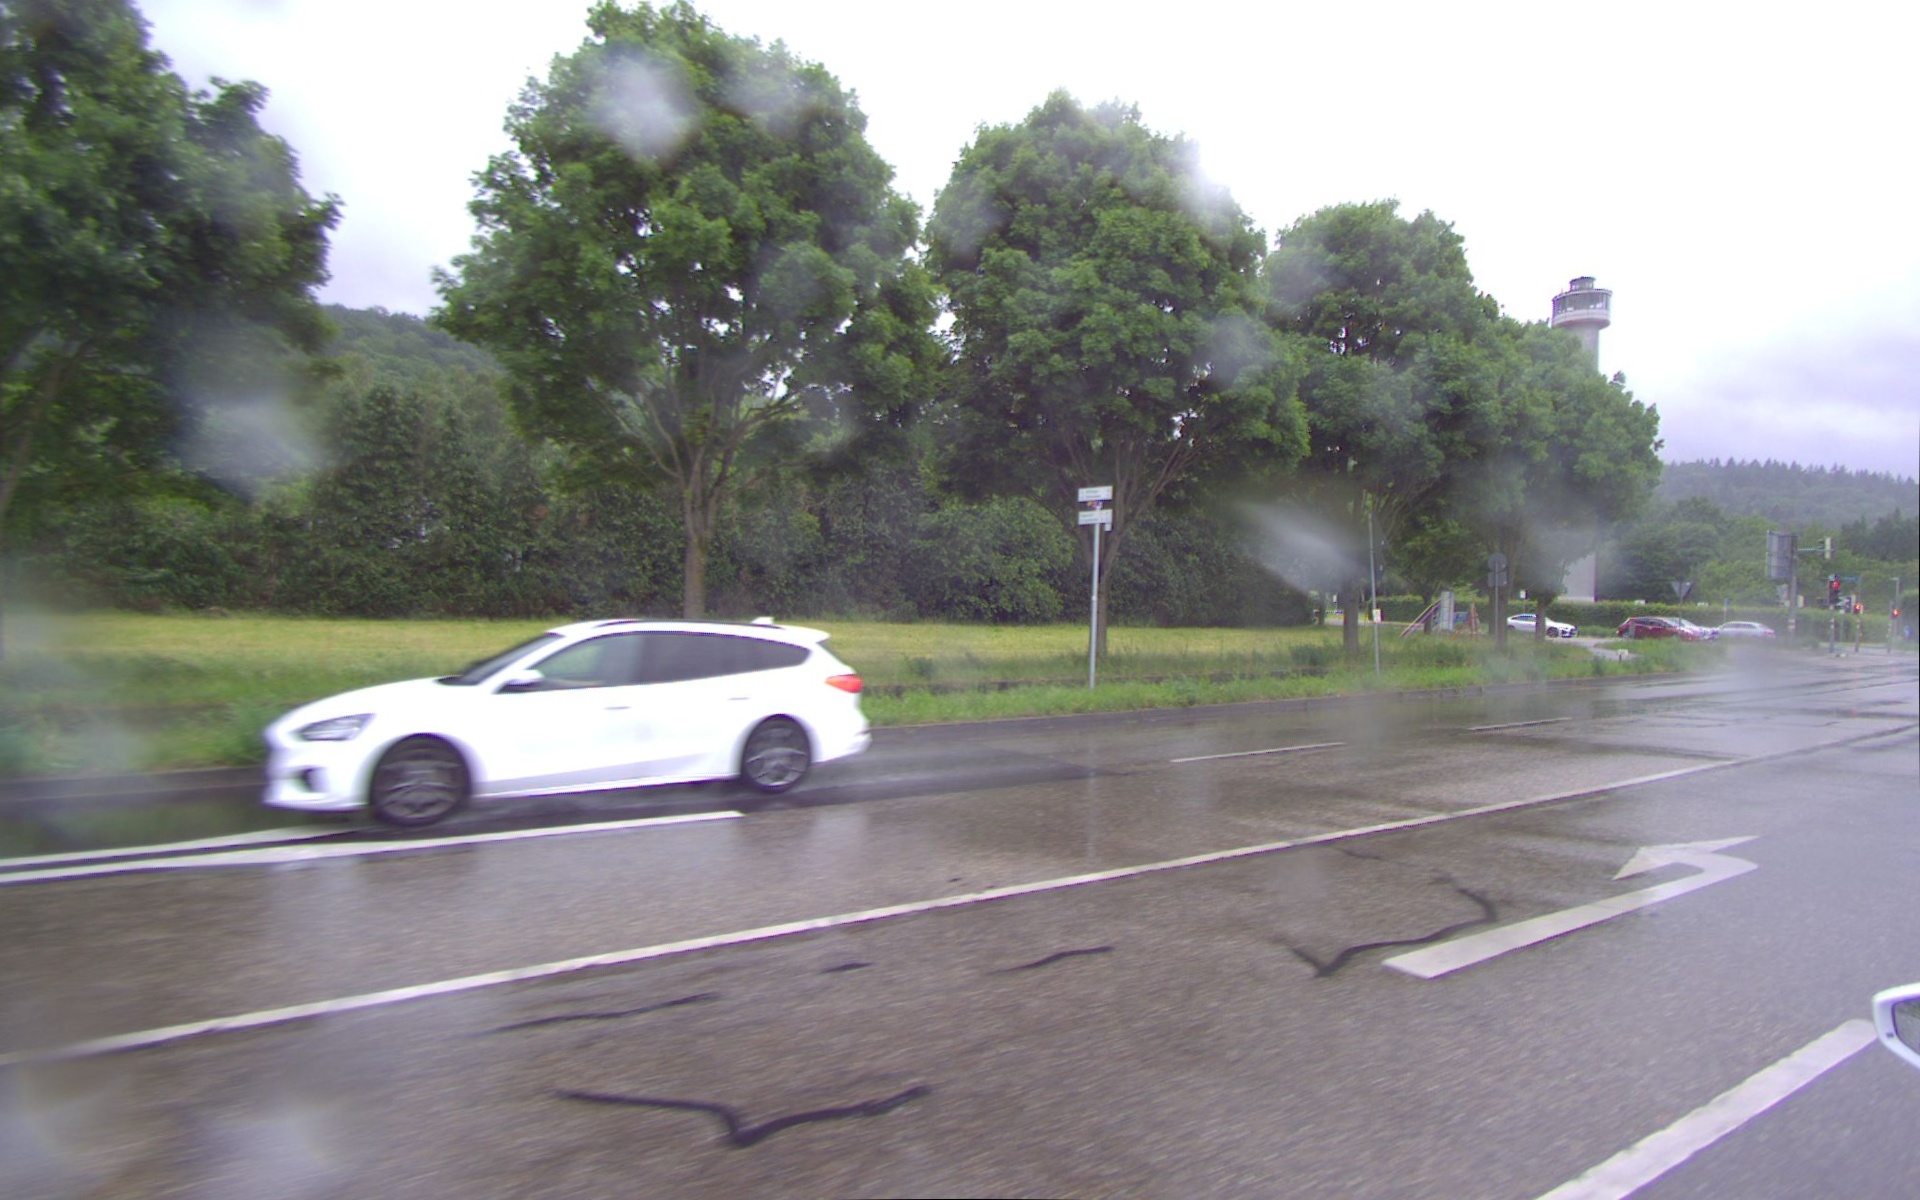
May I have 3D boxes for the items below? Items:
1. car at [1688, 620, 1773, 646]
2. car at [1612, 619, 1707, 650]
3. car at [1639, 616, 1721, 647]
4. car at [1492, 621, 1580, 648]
[{"bbox_3d":[53.085,2.254,69.256,1.718,1.601,4.339,1,1,-39],"label":"car"},{"bbox_3d":[42.098,2.054,60.568,1.711,1.601,4.356,1,1,-29],"label":"car"},{"bbox_3d":[44.968,1.958,62.821,1.724,1.734,3.785,1,0,-28],"label":"car"},{"bbox_3d":[38.236,2.295,66.815,1.777,1.574,4.861,1,0,-29],"label":"car"}]
